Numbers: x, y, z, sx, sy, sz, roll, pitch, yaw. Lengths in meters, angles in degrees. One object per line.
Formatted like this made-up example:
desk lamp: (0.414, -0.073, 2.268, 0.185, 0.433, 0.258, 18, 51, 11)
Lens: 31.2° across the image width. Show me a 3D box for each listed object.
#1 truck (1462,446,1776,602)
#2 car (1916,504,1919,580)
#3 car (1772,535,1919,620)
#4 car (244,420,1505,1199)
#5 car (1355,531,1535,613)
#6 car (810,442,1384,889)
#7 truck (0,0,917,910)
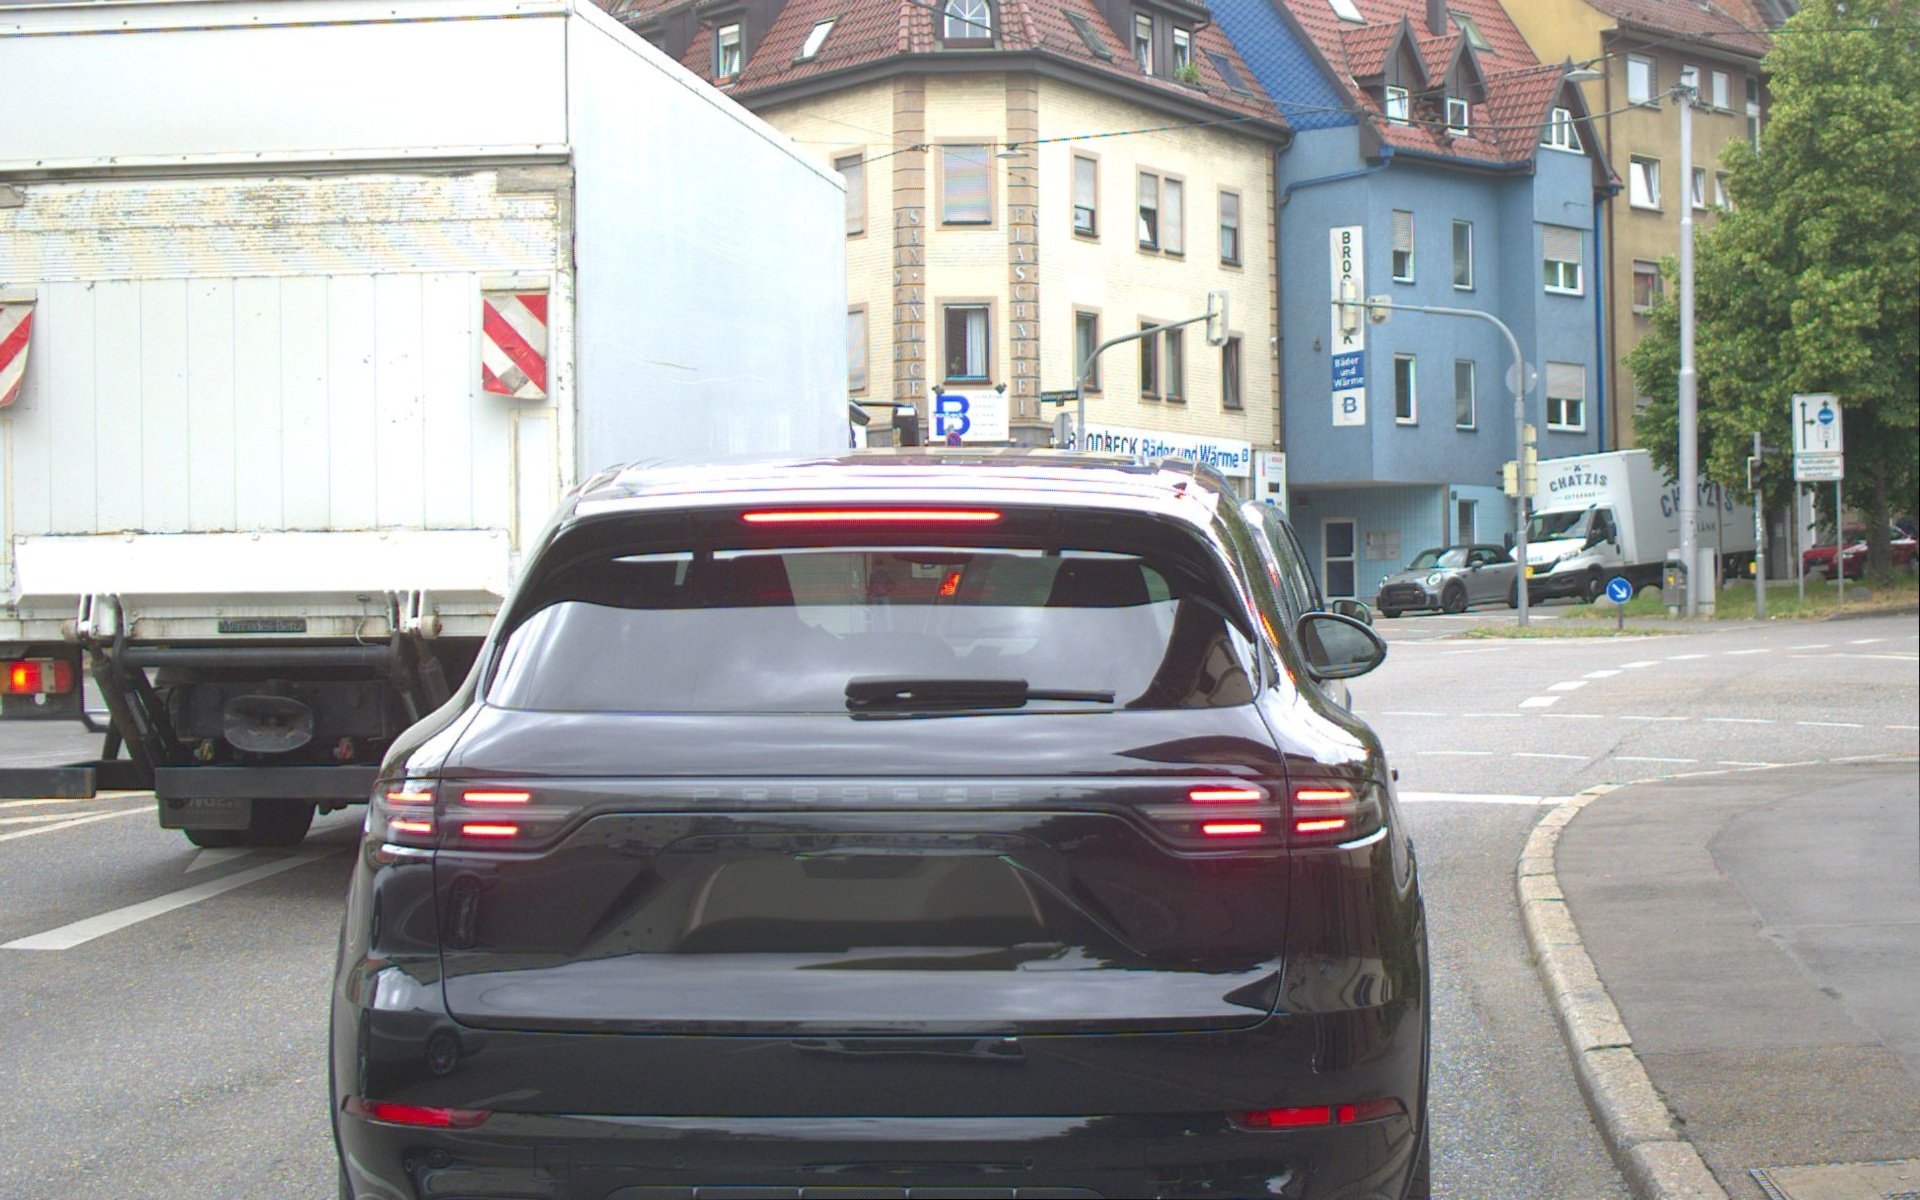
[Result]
truck: (15.150, -1.680, 78.498, 2.880, 3.328, 8.772, 2, 1, 41)
car: (27.320, -1.471, 91.398, 1.999, 2.007, 3.990, 2, 1, 43)
car: (22.294, -0.555, 86.157, 1.999, 2.007, 3.990, 2, 1, 43)
car: (-0.241, 0.502, 7.411, 1.978, 1.678, 4.001, 0, 2, -3)
car: (10.175, -0.596, 71.926, 1.998, 1.678, 3.991, 0, 1, 38)
car: (0.749, 0.220, 15.073, 1.994, 1.678, 3.998, 0, 1, 10)
truck: (-2.202, -0.717, 17.201, 2.770, 3.562, 8.062, 0, 1, 8)
